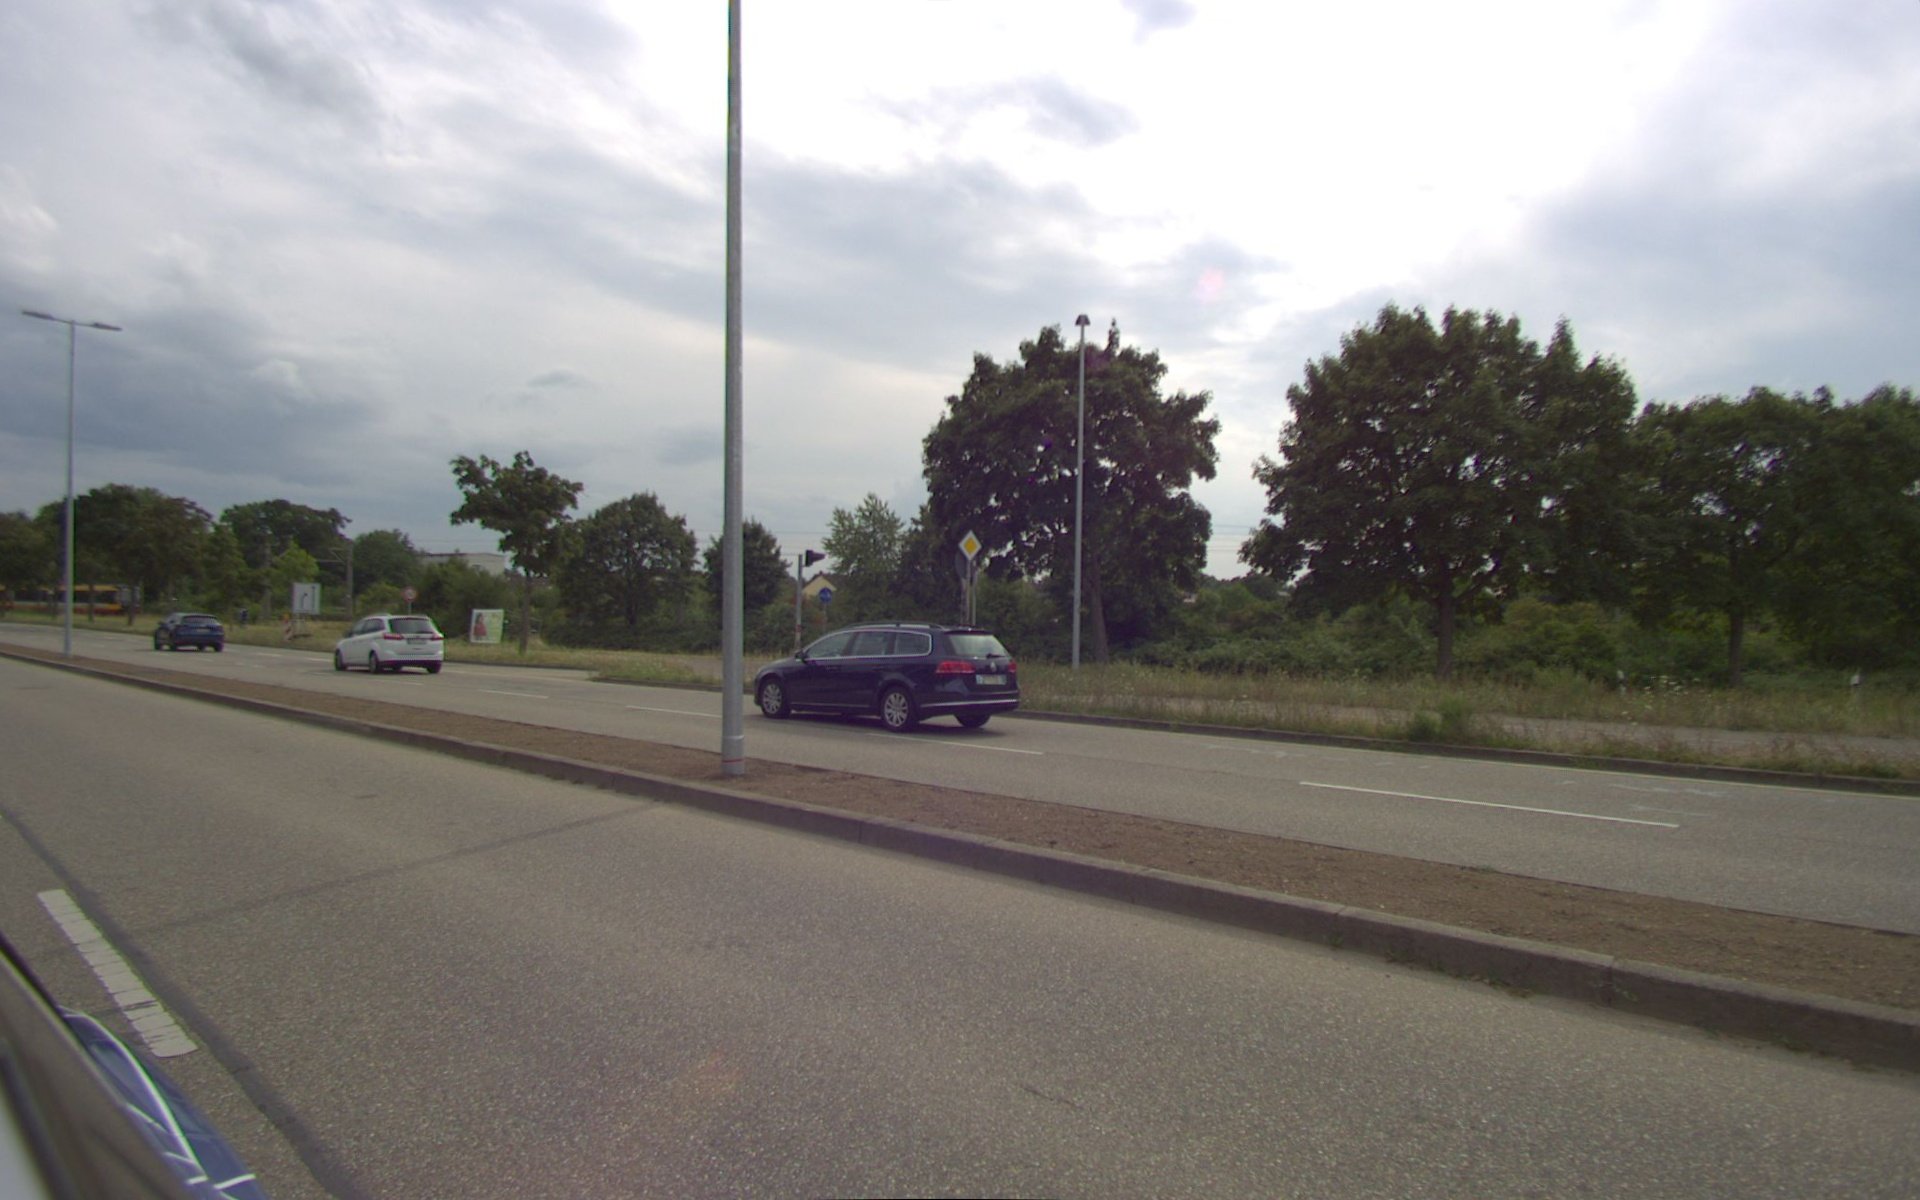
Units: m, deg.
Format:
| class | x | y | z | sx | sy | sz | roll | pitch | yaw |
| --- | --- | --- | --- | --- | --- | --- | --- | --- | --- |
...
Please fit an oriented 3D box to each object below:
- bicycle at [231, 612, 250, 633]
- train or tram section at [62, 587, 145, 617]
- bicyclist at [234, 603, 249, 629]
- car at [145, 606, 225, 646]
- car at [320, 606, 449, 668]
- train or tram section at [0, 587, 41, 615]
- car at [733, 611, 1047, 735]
| class | x | y | z | sx | sy | sz | roll | pitch | yaw |
| --- | --- | --- | --- | --- | --- | --- | --- | --- | --- |
| bicycle | -51.287 | 1.605 | 72.130 | 2.165 | 1.433 | 0.530 | 0 | -3 | 41 |
| train or tram section | -100.264 | 0.206 | 118.396 | 11.882 | 3.447 | 2.897 | 0 | 0 | 26 |
| bicyclist | -51.255 | 1.160 | 72.155 | 0.818 | 1.846 | 0.637 | -1 | -2 | 40 |
| car | -33.986 | 1.111 | 44.355 | 4.561 | 1.666 | 1.828 | 0 | -2 | 40 |
| car | -16.867 | 1.052 | 29.583 | 4.635 | 1.666 | 1.750 | 0 | -3 | 40 |
| train or tram section | -121.616 | 0.107 | 128.752 | 11.884 | 3.447 | 2.897 | 0 | 0 | 26 |
| car | -1.157 | 0.962 | 14.885 | 4.738 | 1.544 | 1.750 | 0 | -2 | 40 |
